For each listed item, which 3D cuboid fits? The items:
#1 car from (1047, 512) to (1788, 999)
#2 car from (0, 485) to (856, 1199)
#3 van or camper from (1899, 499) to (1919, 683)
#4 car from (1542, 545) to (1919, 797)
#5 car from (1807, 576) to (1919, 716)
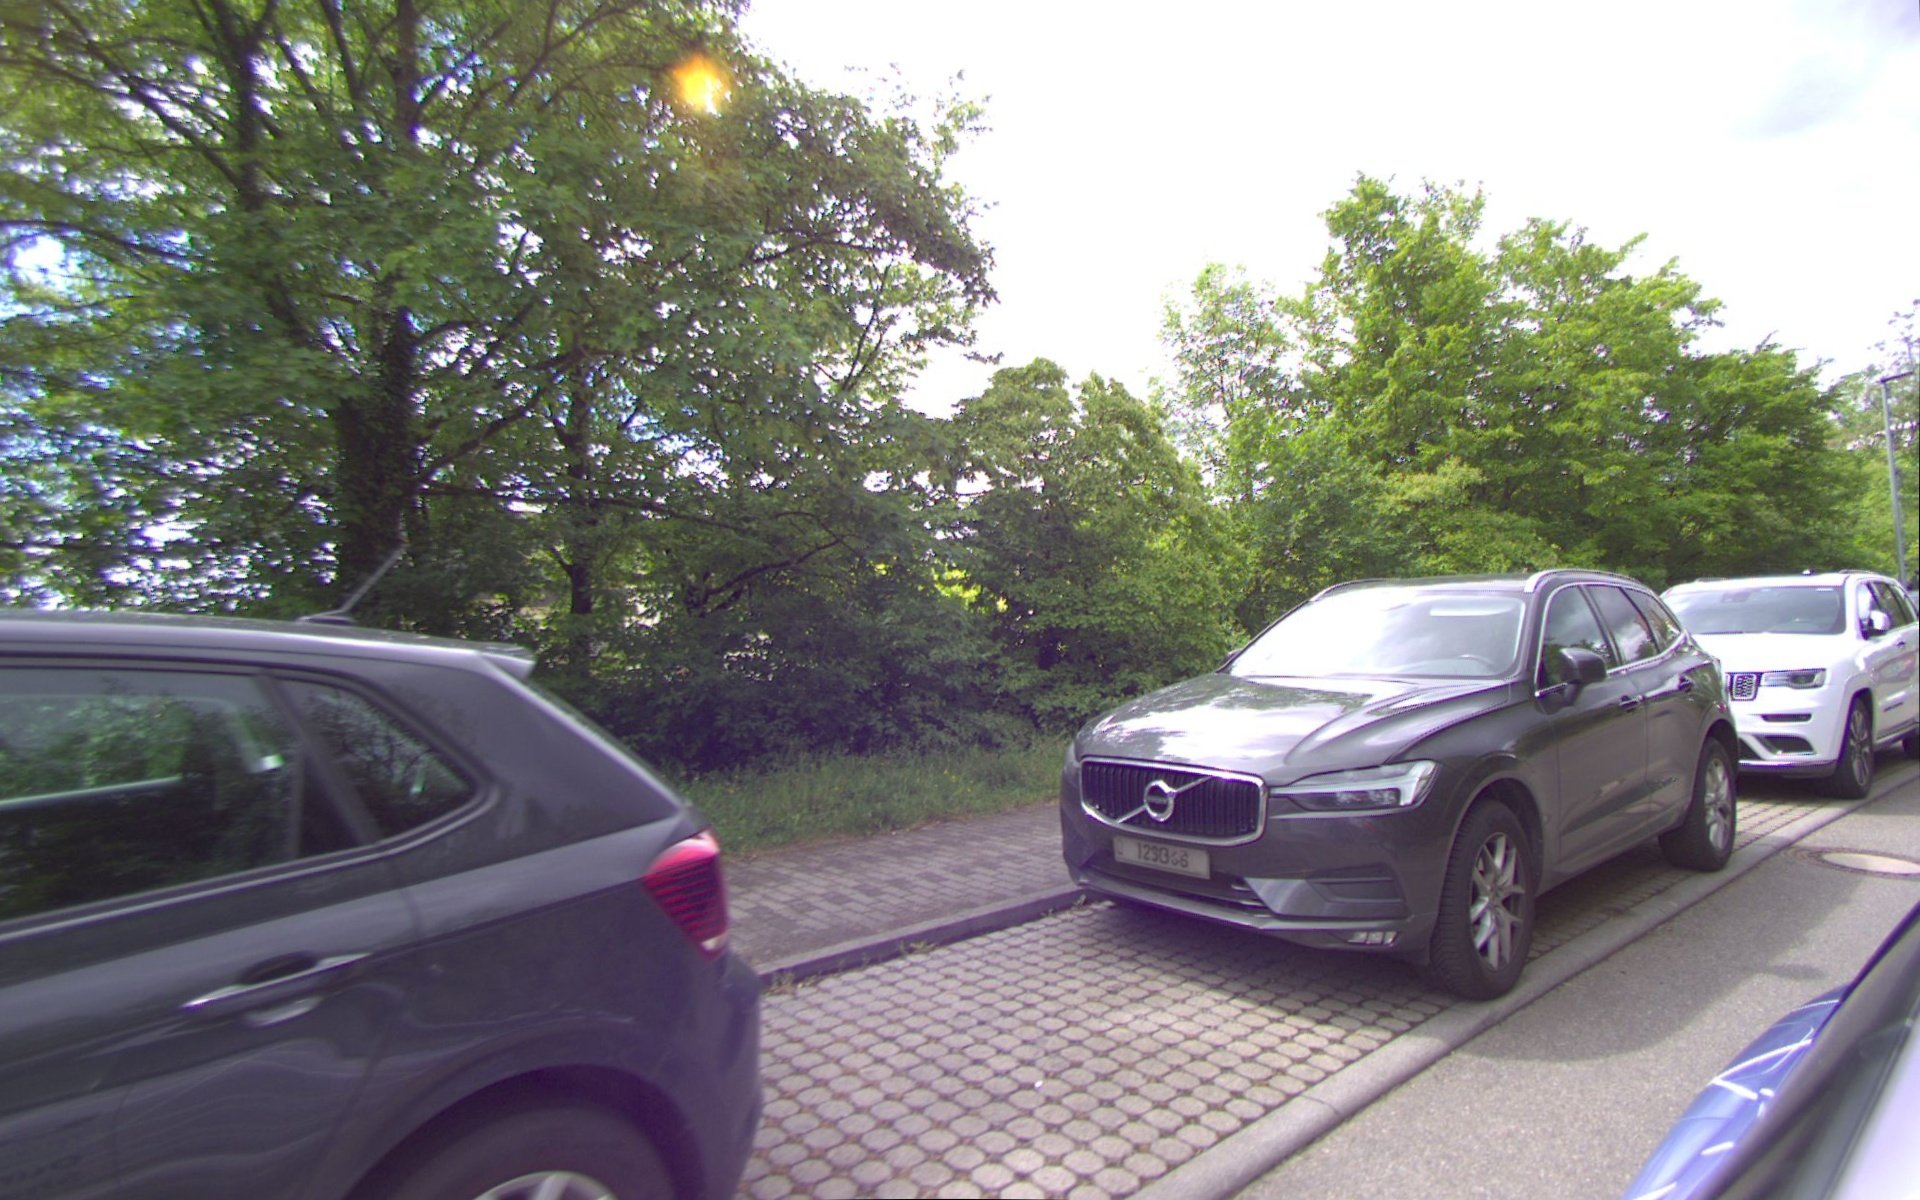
[{"bbox_3d":[2.688,0.539,5.534,4.200,1.647,1.998,0,-1,-39],"label":"car"},{"bbox_3d":[-2.261,0.657,1.299,3.932,1.483,1.799,-1,-3,-43],"label":"car"},{"bbox_3d":[18.334,-0.283,16.751,6.029,2.907,2.340,-2,-3,-31],"label":"van or camper"},{"bbox_3d":[7.252,0.521,8.947,4.493,1.711,1.876,-1,-4,-36],"label":"car"},{"bbox_3d":[12.618,0.496,12.947,3.925,1.612,1.715,-1,-3,-36],"label":"car"}]
